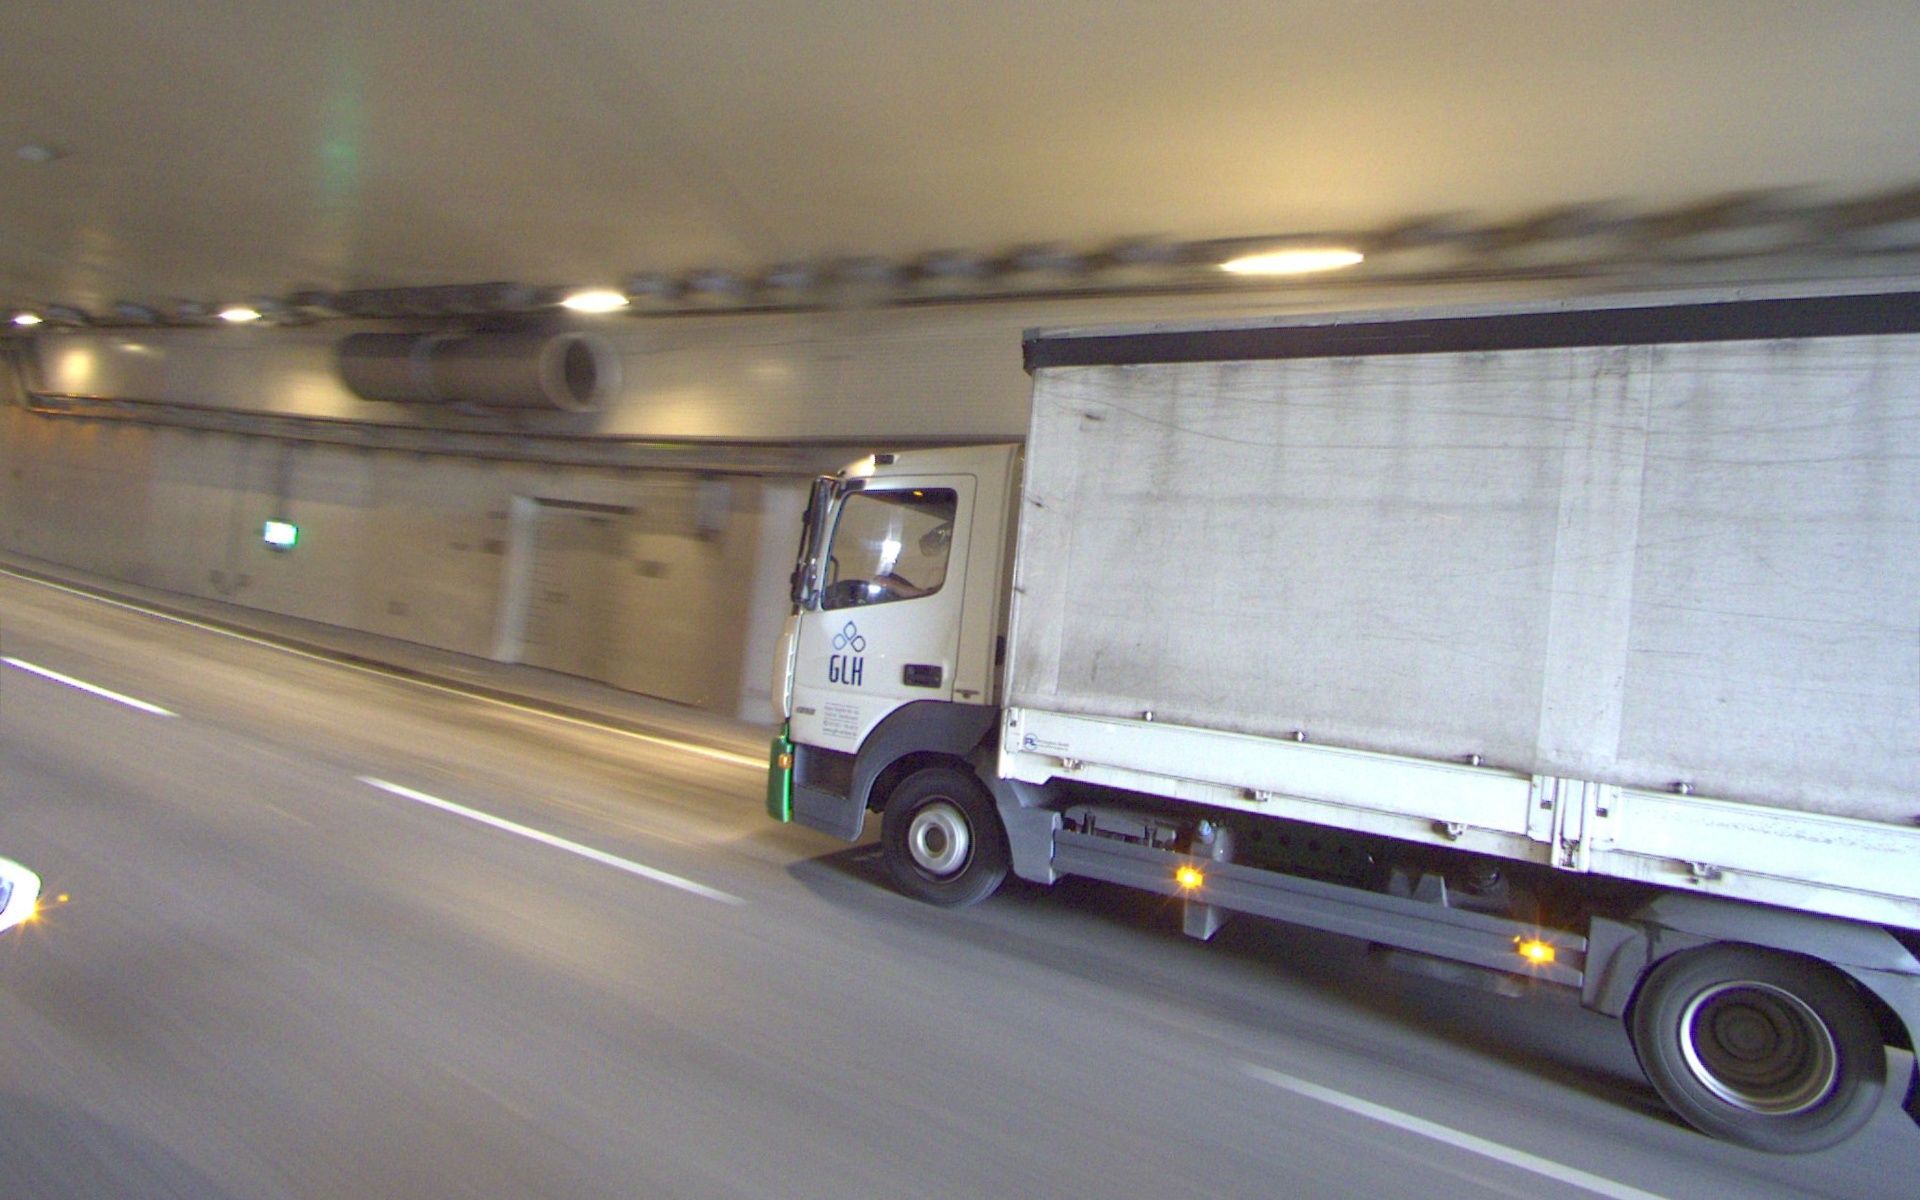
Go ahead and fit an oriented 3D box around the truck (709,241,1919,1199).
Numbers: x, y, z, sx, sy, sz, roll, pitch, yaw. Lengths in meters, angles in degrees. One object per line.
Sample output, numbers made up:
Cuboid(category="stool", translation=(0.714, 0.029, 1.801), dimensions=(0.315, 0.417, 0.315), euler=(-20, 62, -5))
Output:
Cuboid(category="truck", translation=(2.417, 0.323, 5.298), dimensions=(7.120, 3.219, 2.559), euler=(6, -1, 29))
